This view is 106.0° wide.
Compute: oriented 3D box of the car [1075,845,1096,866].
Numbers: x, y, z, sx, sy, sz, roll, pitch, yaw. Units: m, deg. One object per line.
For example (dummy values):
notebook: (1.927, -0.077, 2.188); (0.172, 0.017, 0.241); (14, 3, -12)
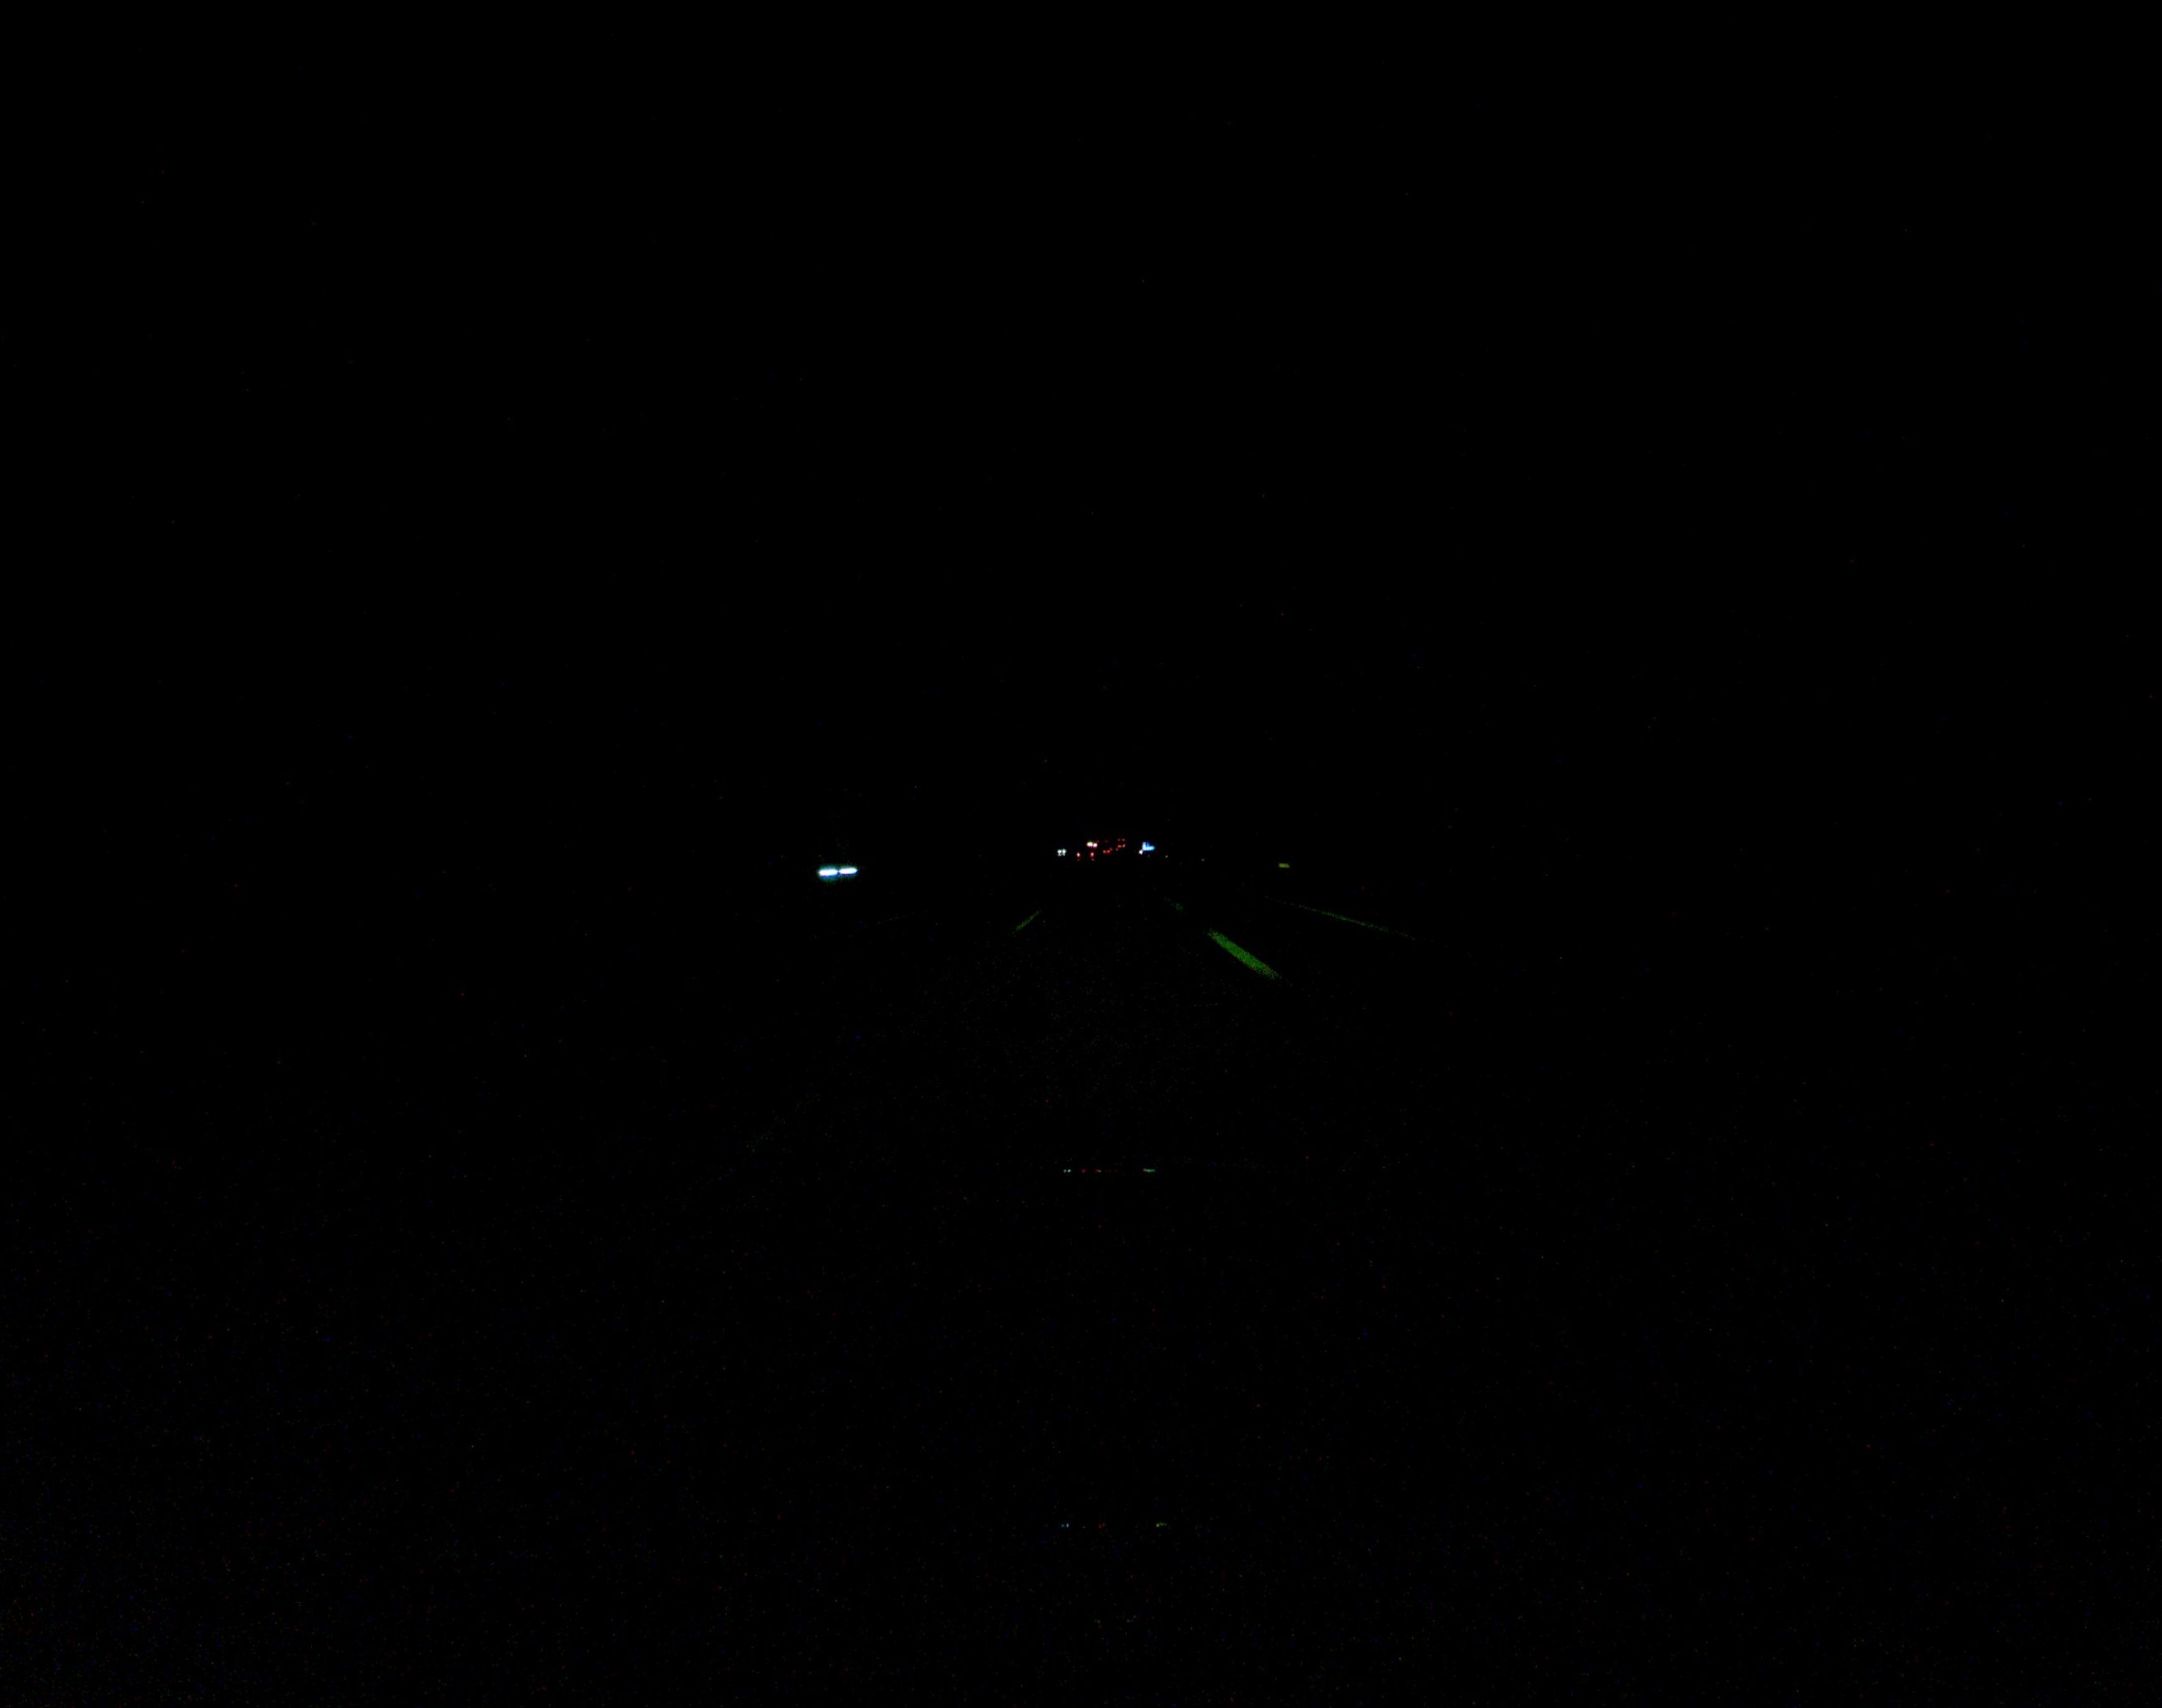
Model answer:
car: (0.571, 0.224, 111.156); (2.778, 2.733, 6.297); (-1, -1, 0)

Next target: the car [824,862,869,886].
car: (-18.334, 1.533, 63.976); (1.987, 1.745, 5.072); (-1, 0, 1)

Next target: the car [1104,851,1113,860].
car: (8.718, 0.611, 258.507); (2.776, 2.733, 6.301); (-1, -1, 2)
